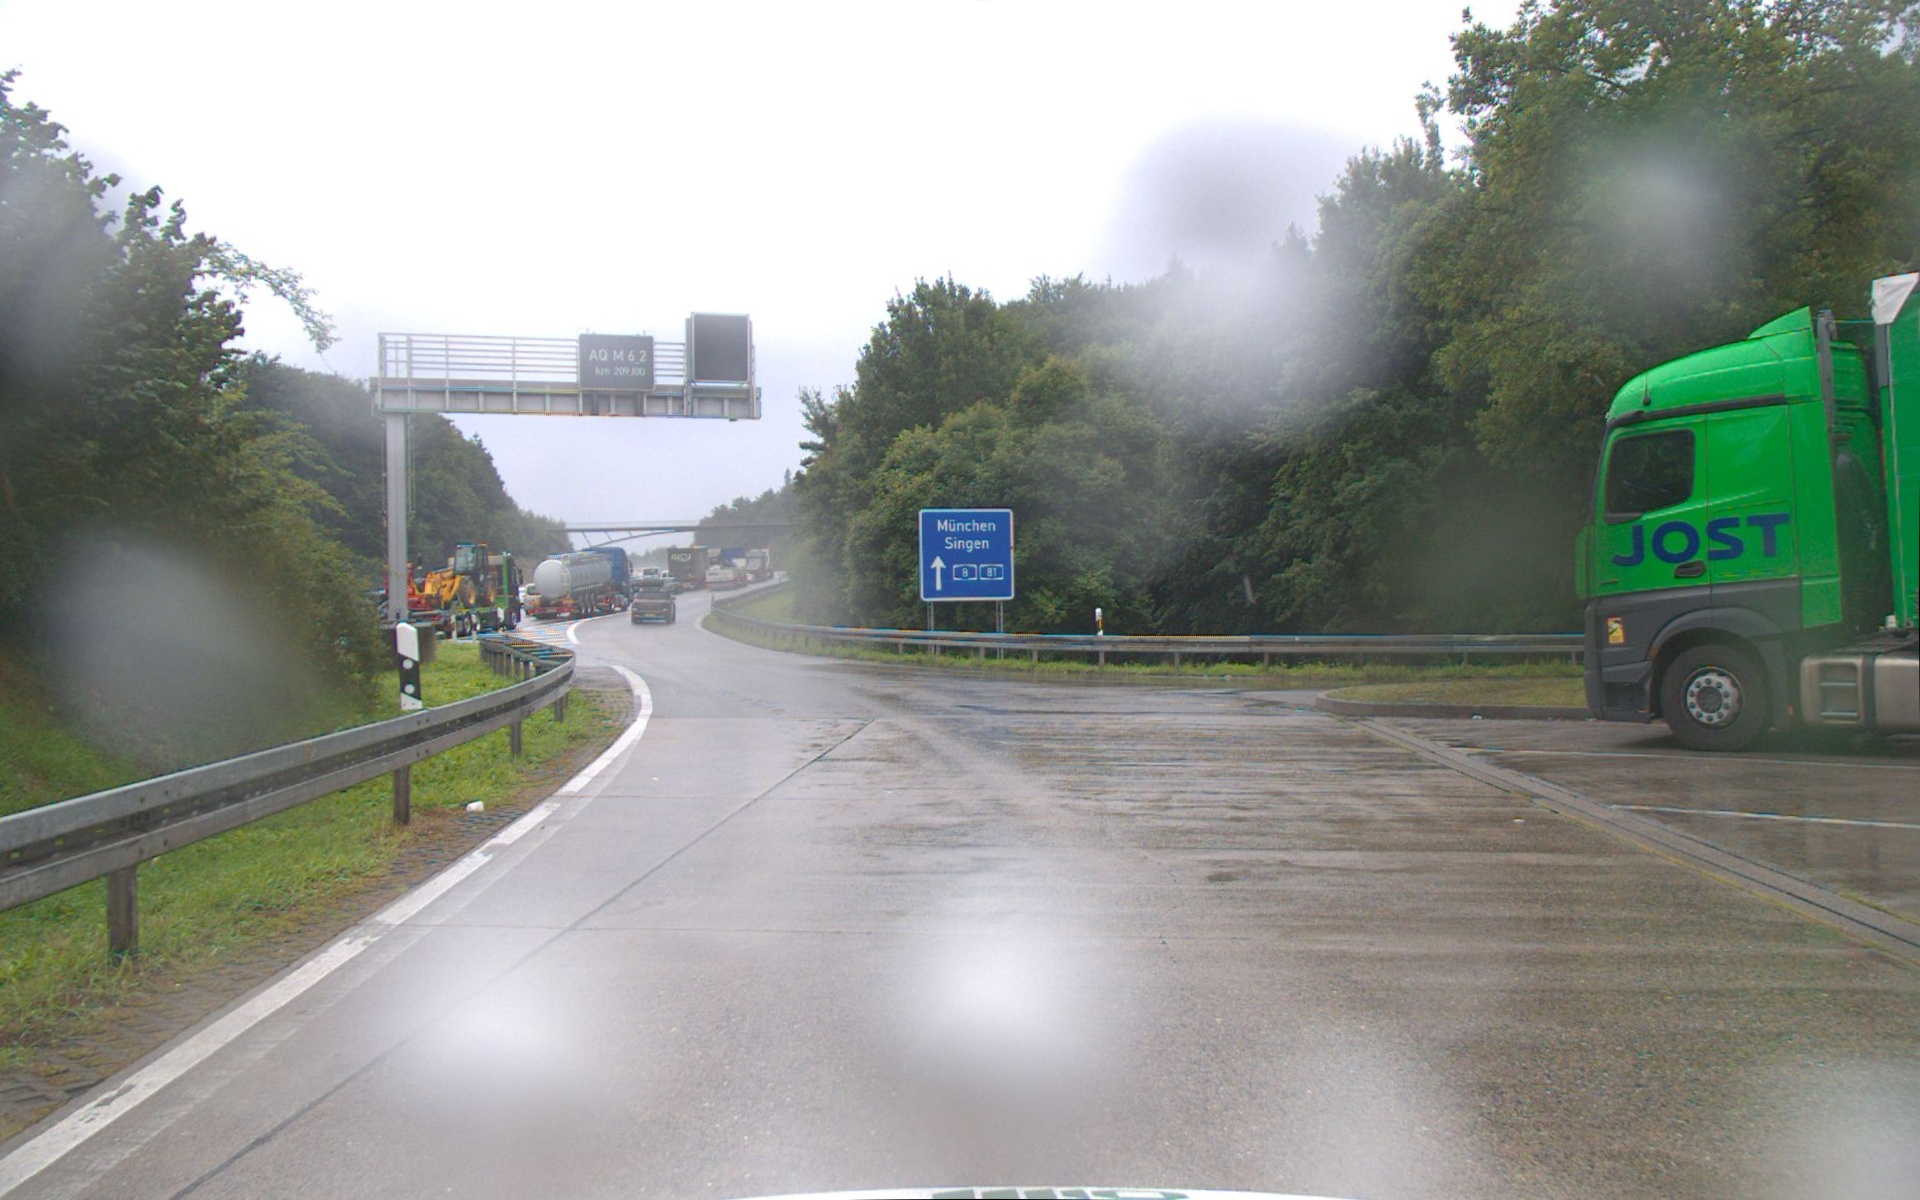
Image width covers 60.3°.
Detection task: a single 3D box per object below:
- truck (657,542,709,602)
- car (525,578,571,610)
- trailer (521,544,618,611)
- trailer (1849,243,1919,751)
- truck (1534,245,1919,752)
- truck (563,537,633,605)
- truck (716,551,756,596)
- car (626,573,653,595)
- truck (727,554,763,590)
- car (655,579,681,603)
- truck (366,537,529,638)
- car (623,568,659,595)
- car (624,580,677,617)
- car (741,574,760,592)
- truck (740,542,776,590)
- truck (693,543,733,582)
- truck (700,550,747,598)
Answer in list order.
[{"bbox_3d":[-26.972,-2.618,161.626,3.679,5.595,10.167,1,0,-3],"label":"truck"},{"bbox_3d":[-24.497,-0.364,98.423,1.783,1.797,3.999,-1,1,-2],"label":"car"},{"bbox_3d":[-21.142,-1.326,90.185,2.815,3.345,10.079,-2,2,0],"label":"trailer"},{"bbox_3d":[13.349,-1.085,10.047,2.805,4.222,13.745,-2,0,-43],"label":"trailer"},{"bbox_3d":[8.736,-0.868,15.079,2.805,4.222,5.902,-2,0,-43],"label":"truck"},{"bbox_3d":[-21.164,-1.751,96.928,2.818,3.757,5.057,-2,2,0],"label":"truck"},{"bbox_3d":[-23.146,-2.673,171.560,3.438,4.342,10.592,1,0,-5],"label":"truck"},{"bbox_3d":[-28.838,-1.409,148.728,1.762,1.937,3.998,-2,0,-3],"label":"car"},{"bbox_3d":[-25.317,-3.251,195.546,3.682,4.040,11.047,1,0,-5],"label":"truck"},{"bbox_3d":[-24.995,-0.764,141.618,1.762,1.937,3.997,1,0,-4],"label":"car"},{"bbox_3d":[-20.762,-0.593,67.896,2.773,3.650,11.799,-3,1,0],"label":"truck"},{"bbox_3d":[-37.980,-2.198,196.974,3.181,3.055,6.769,1,0,-3],"label":"car"},{"bbox_3d":[-14.554,-0.077,77.992,1.954,1.665,3.997,1,0,-3],"label":"car"},{"bbox_3d":[-23.072,-1.838,182.512,1.762,1.937,3.997,-2,0,-4],"label":"car"},{"bbox_3d":[-26.212,-4.324,215.023,4.251,5.864,9.720,1,0,-5],"label":"truck"},{"bbox_3d":[-29.515,-4.417,197.846,3.505,4.167,10.873,-2,0,-3],"label":"truck"},{"bbox_3d":[-22.183,-2.505,155.757,3.530,4.176,11.551,-2,2,-4],"label":"truck"}]
